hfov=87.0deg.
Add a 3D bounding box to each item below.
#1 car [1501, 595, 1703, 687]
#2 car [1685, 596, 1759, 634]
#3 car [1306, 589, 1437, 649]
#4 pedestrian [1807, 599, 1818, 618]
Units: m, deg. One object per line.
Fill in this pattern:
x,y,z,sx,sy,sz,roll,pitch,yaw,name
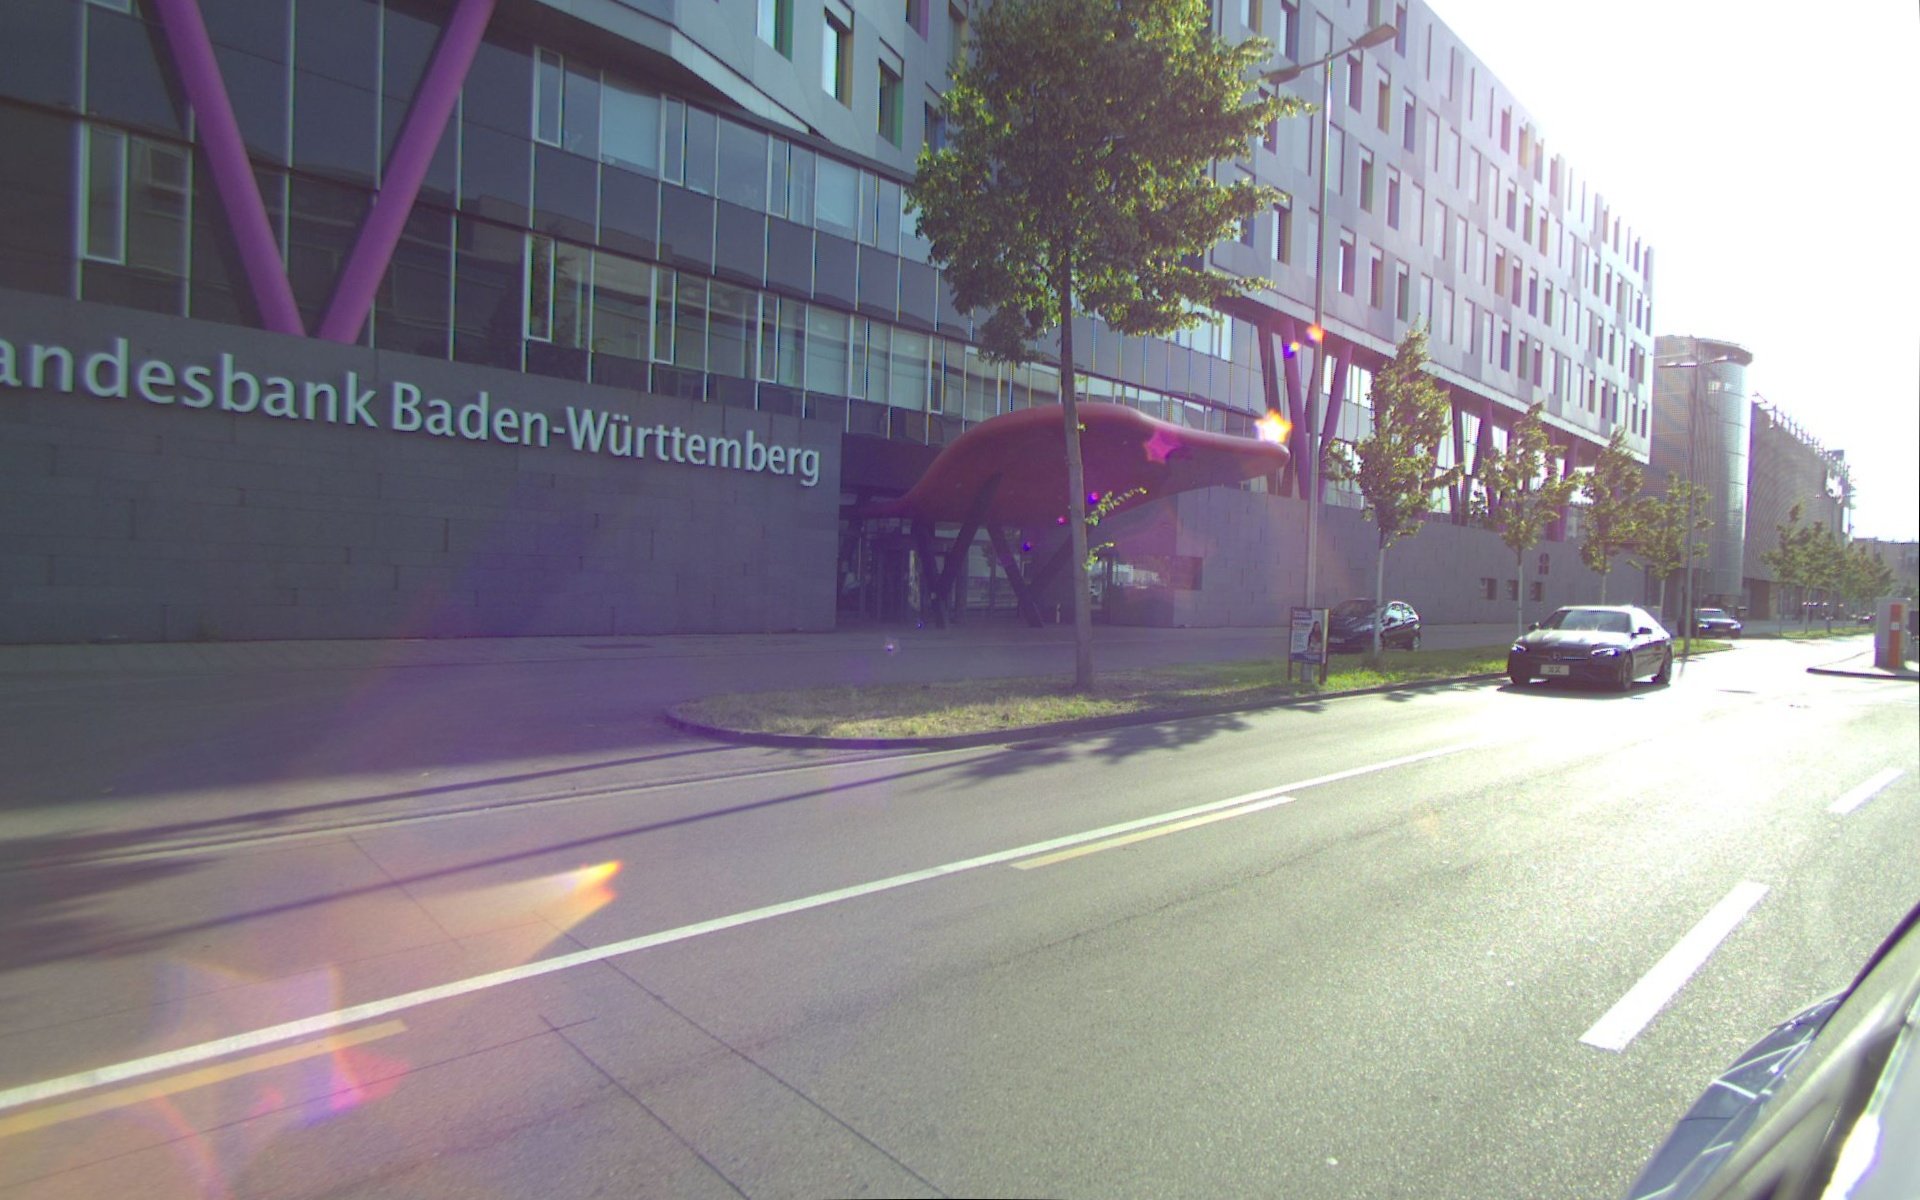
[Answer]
11.874,0.694,18.607,4.474,1.468,1.843,1,0,-40,car
37.187,0.689,49.498,1.875,1.443,4.440,1,5,24,car
10.986,0.498,26.887,4.129,1.407,1.693,1,1,-45,car
85.545,0.861,101.585,0.759,1.809,0.724,1,1,-44,pedestrian
